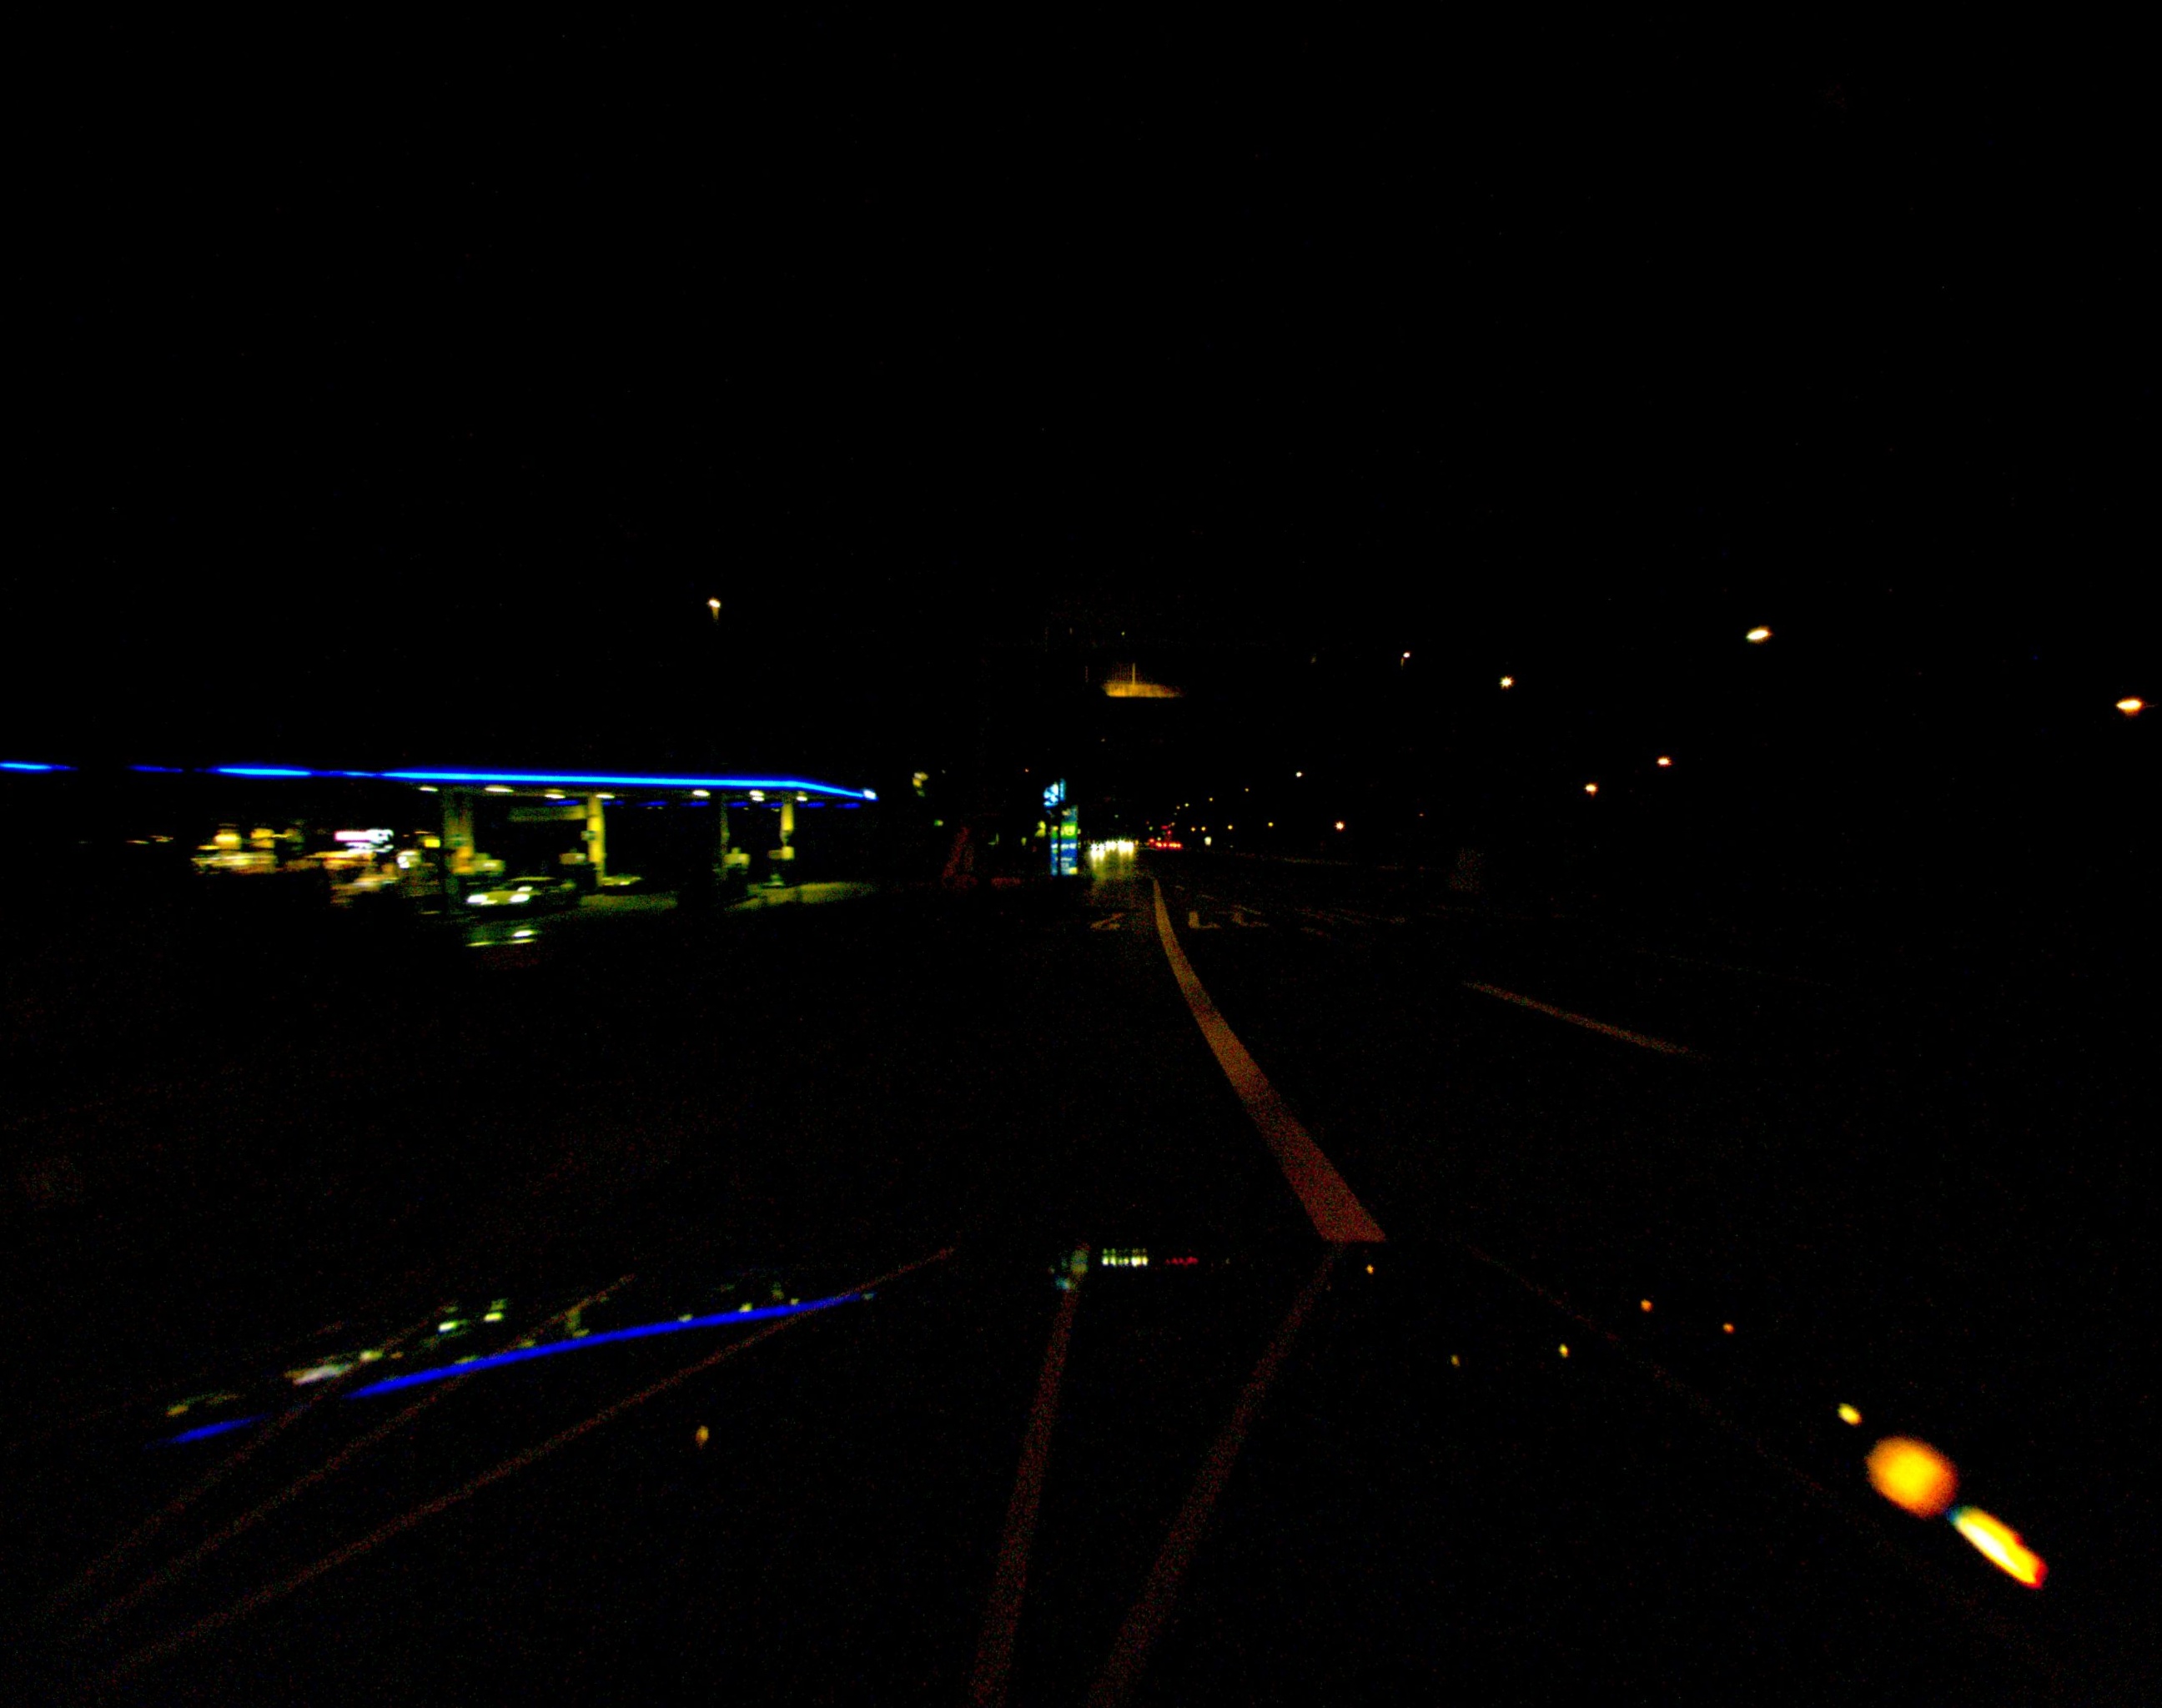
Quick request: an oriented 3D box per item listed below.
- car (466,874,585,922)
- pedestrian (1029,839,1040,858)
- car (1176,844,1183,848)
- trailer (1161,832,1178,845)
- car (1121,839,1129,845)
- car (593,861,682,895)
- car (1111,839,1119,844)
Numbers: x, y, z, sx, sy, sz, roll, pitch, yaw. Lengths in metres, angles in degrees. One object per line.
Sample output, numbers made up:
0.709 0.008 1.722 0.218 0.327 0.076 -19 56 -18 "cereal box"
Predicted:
-20.415 1.564 28.154 1.658 1.351 4.065 -1 2 -6 "car"
-4.536 -0.545 74.585 0.806 1.902 0.794 3 2 9 "pedestrian"
34.100 -2.764 262.536 1.991 1.473 4.202 1 2 0 "car"
28.655 -5.142 246.446 3.707 3.967 8.389 -2 2 -4 "trailer"
11.758 -3.238 201.961 1.991 1.473 4.202 1 2 0 "car"
-21.188 1.094 36.537 1.932 1.355 4.332 0 2 -4 "car"
9.548 -3.499 214.786 1.991 1.473 4.202 1 2 0 "car"
